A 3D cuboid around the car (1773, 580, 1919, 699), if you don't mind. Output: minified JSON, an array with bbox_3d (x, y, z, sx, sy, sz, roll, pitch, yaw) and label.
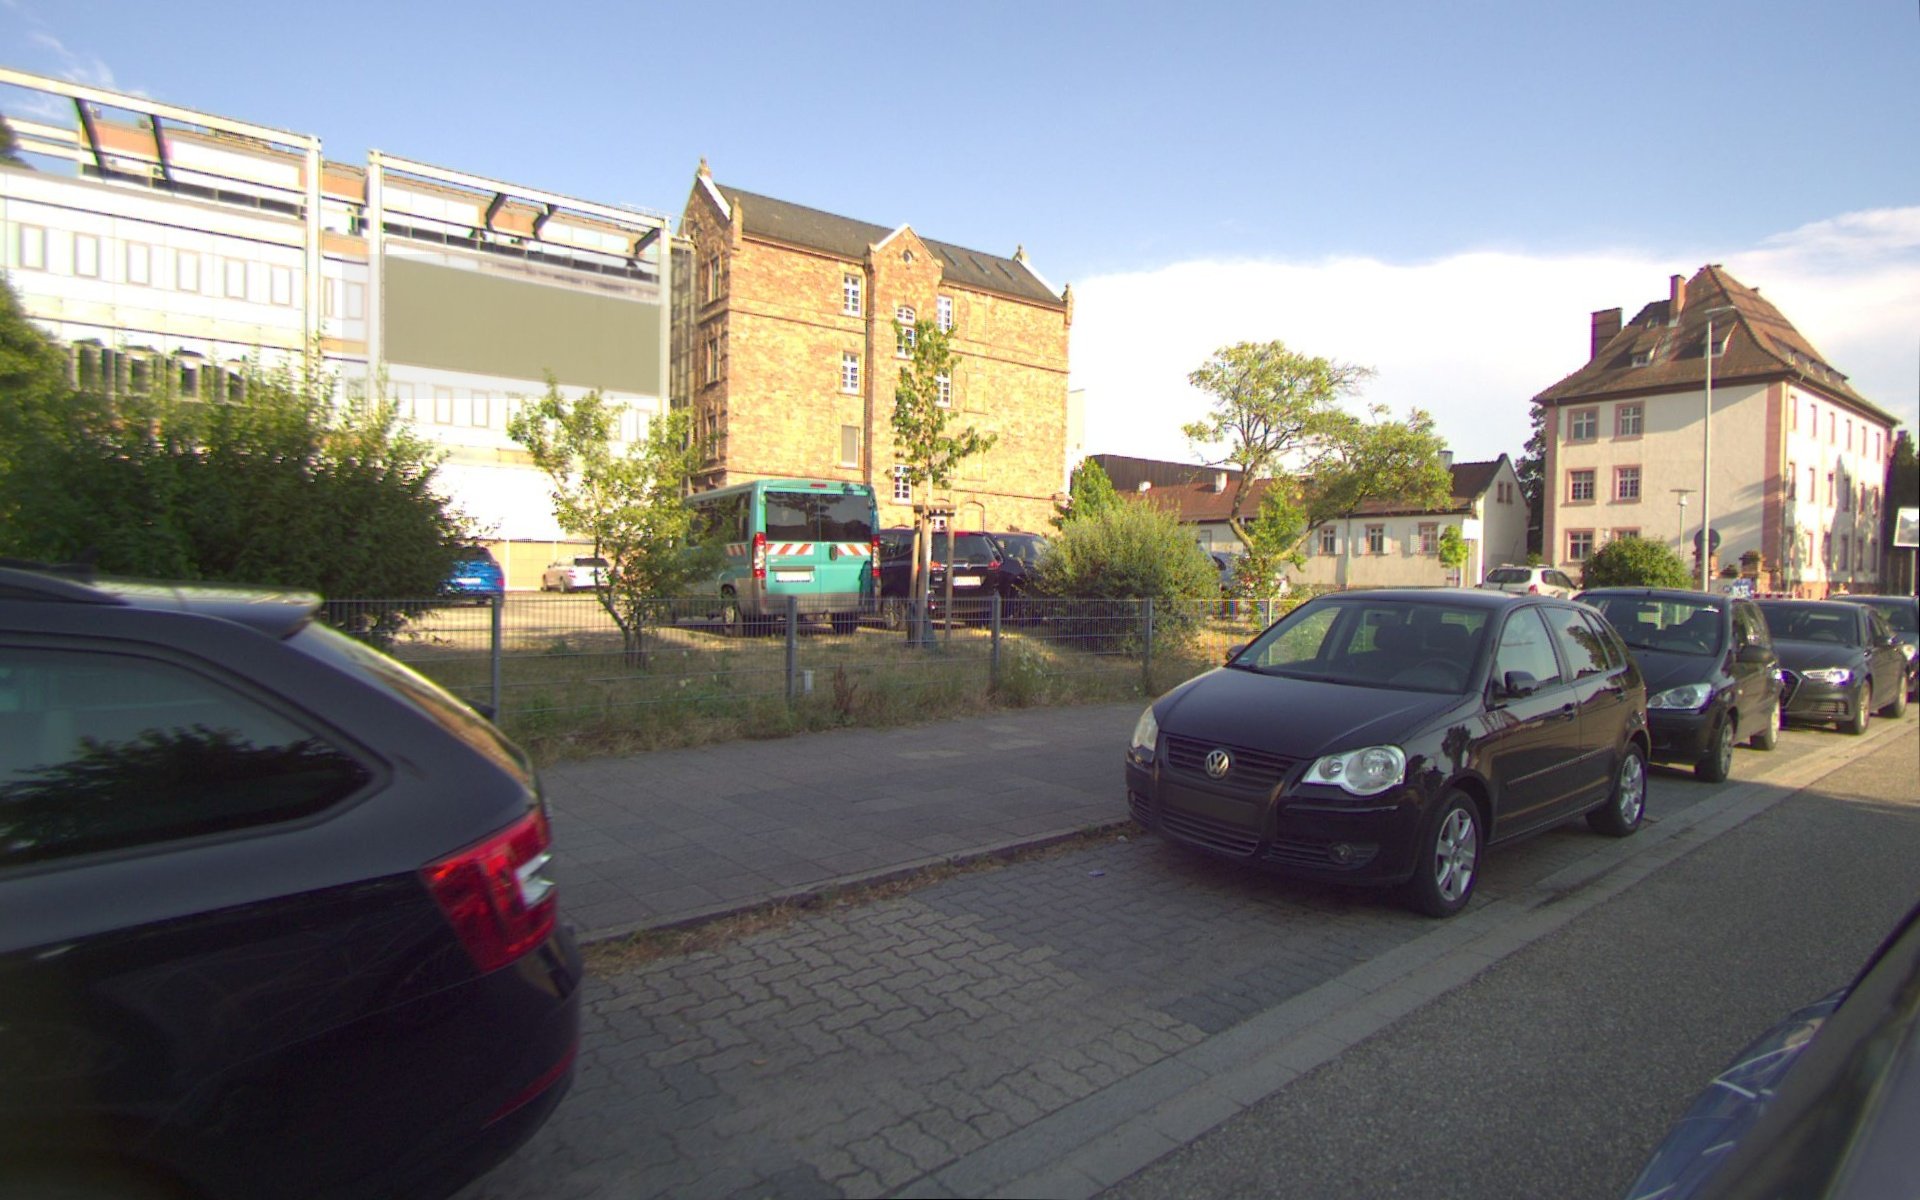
[{"bbox_3d":[14.533,0.509,15.921,4.359,1.559,1.747,-2,3,-38],"label":"car"}]

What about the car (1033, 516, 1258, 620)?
[{"bbox_3d":[3.533,-0.551,19.849,1.965,1.816,3.994,-1,0,-40],"label":"car"}]

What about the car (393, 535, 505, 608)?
[{"bbox_3d":[-12.702,-0.636,25.013,1.701,1.622,4.488,-1,0,-37],"label":"car"}]

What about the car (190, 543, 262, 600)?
[{"bbox_3d":[-22.982,-0.851,31.661,1.701,1.622,4.488,-1,0,-37],"label":"car"}]

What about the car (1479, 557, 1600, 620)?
[{"bbox_3d":[16.574,-0.347,28.883,3.928,1.683,1.656,-2,0,-39],"label":"car"}]

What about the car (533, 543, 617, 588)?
[{"bbox_3d":[-14.387,-1.254,37.687,1.701,1.473,4.488,-1,0,-37],"label":"car"}]

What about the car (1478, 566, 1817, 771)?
[{"bbox_3d":[6.332,0.512,9.150,3.891,1.454,1.653,2,0,-42],"label":"car"}]

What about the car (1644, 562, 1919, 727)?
[{"bbox_3d":[10.396,0.368,12.413,4.723,1.547,1.908,-2,6,-38],"label":"car"}]

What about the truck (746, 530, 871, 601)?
[{"bbox_3d":[-6.569,-1.375,43.164,2.496,2.717,6.440,-1,0,-37],"label":"truck"}]

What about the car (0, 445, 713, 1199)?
[{"bbox_3d":[-2.915,0.572,1.095,4.863,1.580,1.889,-2,4,-43],"label":"car"}]

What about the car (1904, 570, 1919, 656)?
[{"bbox_3d":[22.764,0.293,22.404,4.723,1.800,1.927,-2,5,-38],"label":"car"}]

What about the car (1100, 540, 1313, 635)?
[{"bbox_3d":[5.124,-0.244,21.447,1.965,1.816,3.994,-1,0,-40],"label":"car"}]

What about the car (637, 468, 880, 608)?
[{"bbox_3d":[-3.182,-0.820,15.427,1.965,1.816,3.994,-1,0,-40],"label":"car"}]

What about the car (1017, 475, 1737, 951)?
[{"bbox_3d":[2.668,0.317,5.955,4.499,1.800,1.907,-2,5,-38],"label":"car"}]

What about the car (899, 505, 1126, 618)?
[{"bbox_3d":[0.853,-0.617,18.475,1.964,1.816,3.996,-1,0,-38],"label":"car"}]
